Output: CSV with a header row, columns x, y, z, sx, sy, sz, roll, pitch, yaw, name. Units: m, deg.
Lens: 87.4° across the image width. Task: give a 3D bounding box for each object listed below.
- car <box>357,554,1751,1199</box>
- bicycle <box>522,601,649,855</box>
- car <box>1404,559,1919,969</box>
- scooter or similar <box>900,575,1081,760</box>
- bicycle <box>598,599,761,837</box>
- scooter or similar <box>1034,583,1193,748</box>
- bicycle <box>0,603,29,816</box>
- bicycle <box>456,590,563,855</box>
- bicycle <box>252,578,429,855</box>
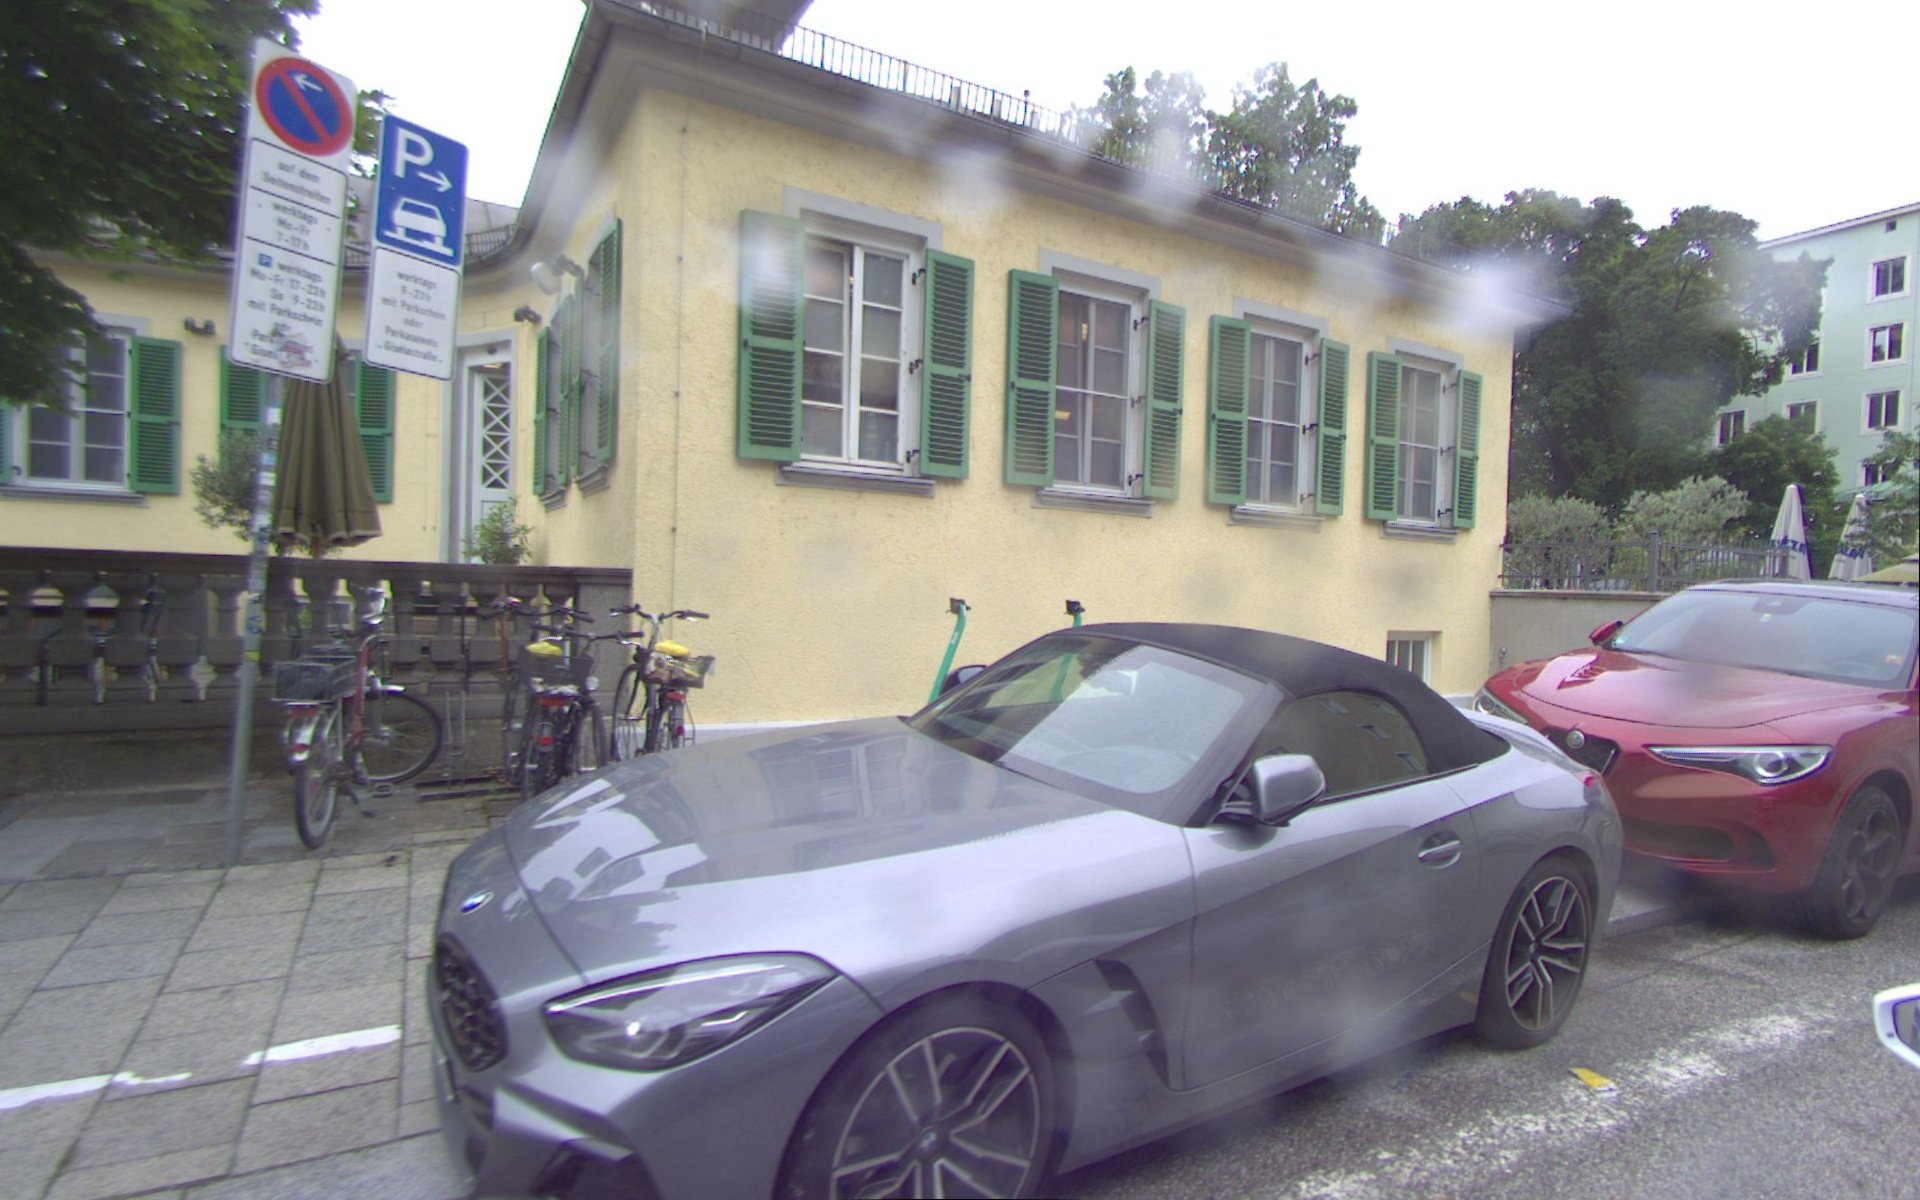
x,y,z,sx,sy,sz,roll,pitch,yaw,name
0.592,0.730,3.506,4.603,1.539,1.886,1,2,-32,car
-2.103,0.610,5.534,0.383,1.152,1.621,1,1,-30,bicycle
5.191,0.728,6.205,4.748,1.714,1.894,2,2,-28,car
0.226,0.508,7.764,1.326,1.361,0.376,2,1,-2,scooter or similar
-1.694,0.608,5.913,0.633,1.164,1.485,1,2,-26,bicycle
1.284,0.547,8.471,1.229,1.332,0.364,2,1,-5,scooter or similar
-4.817,0.571,4.288,0.635,1.042,1.720,1,2,-21,bicycle
-2.475,0.560,5.441,0.348,1.187,1.693,1,1,-30,bicycle
-3.147,0.501,5.223,0.459,1.189,1.626,1,2,-21,bicycle
